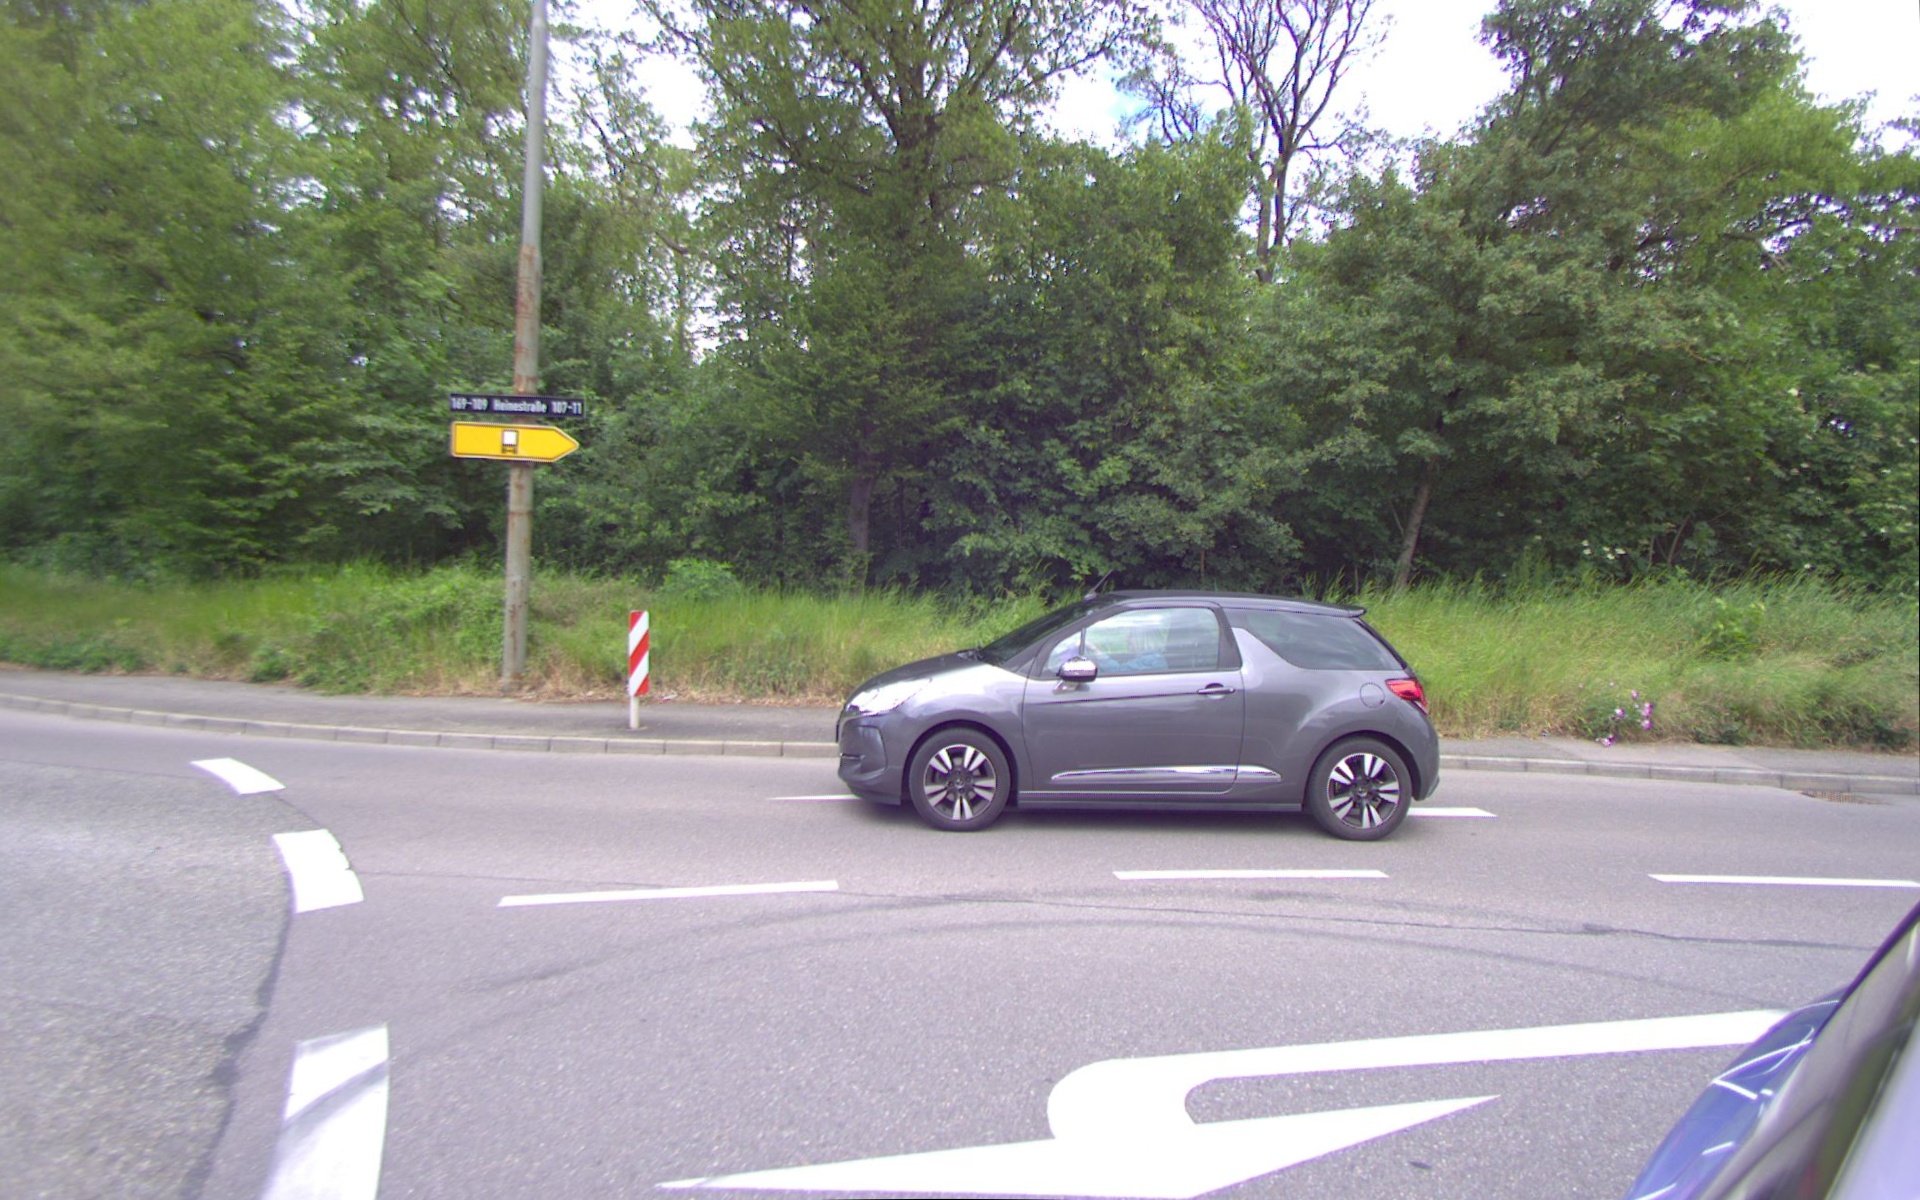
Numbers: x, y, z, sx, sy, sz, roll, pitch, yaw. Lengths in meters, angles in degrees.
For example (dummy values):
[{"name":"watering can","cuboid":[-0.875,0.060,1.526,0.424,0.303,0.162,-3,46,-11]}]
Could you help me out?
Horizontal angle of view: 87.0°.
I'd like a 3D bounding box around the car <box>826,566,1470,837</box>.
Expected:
[{"name":"car","cuboid":[1.080,0.567,6.817,3.735,1.529,1.824,1,2,0]}]
